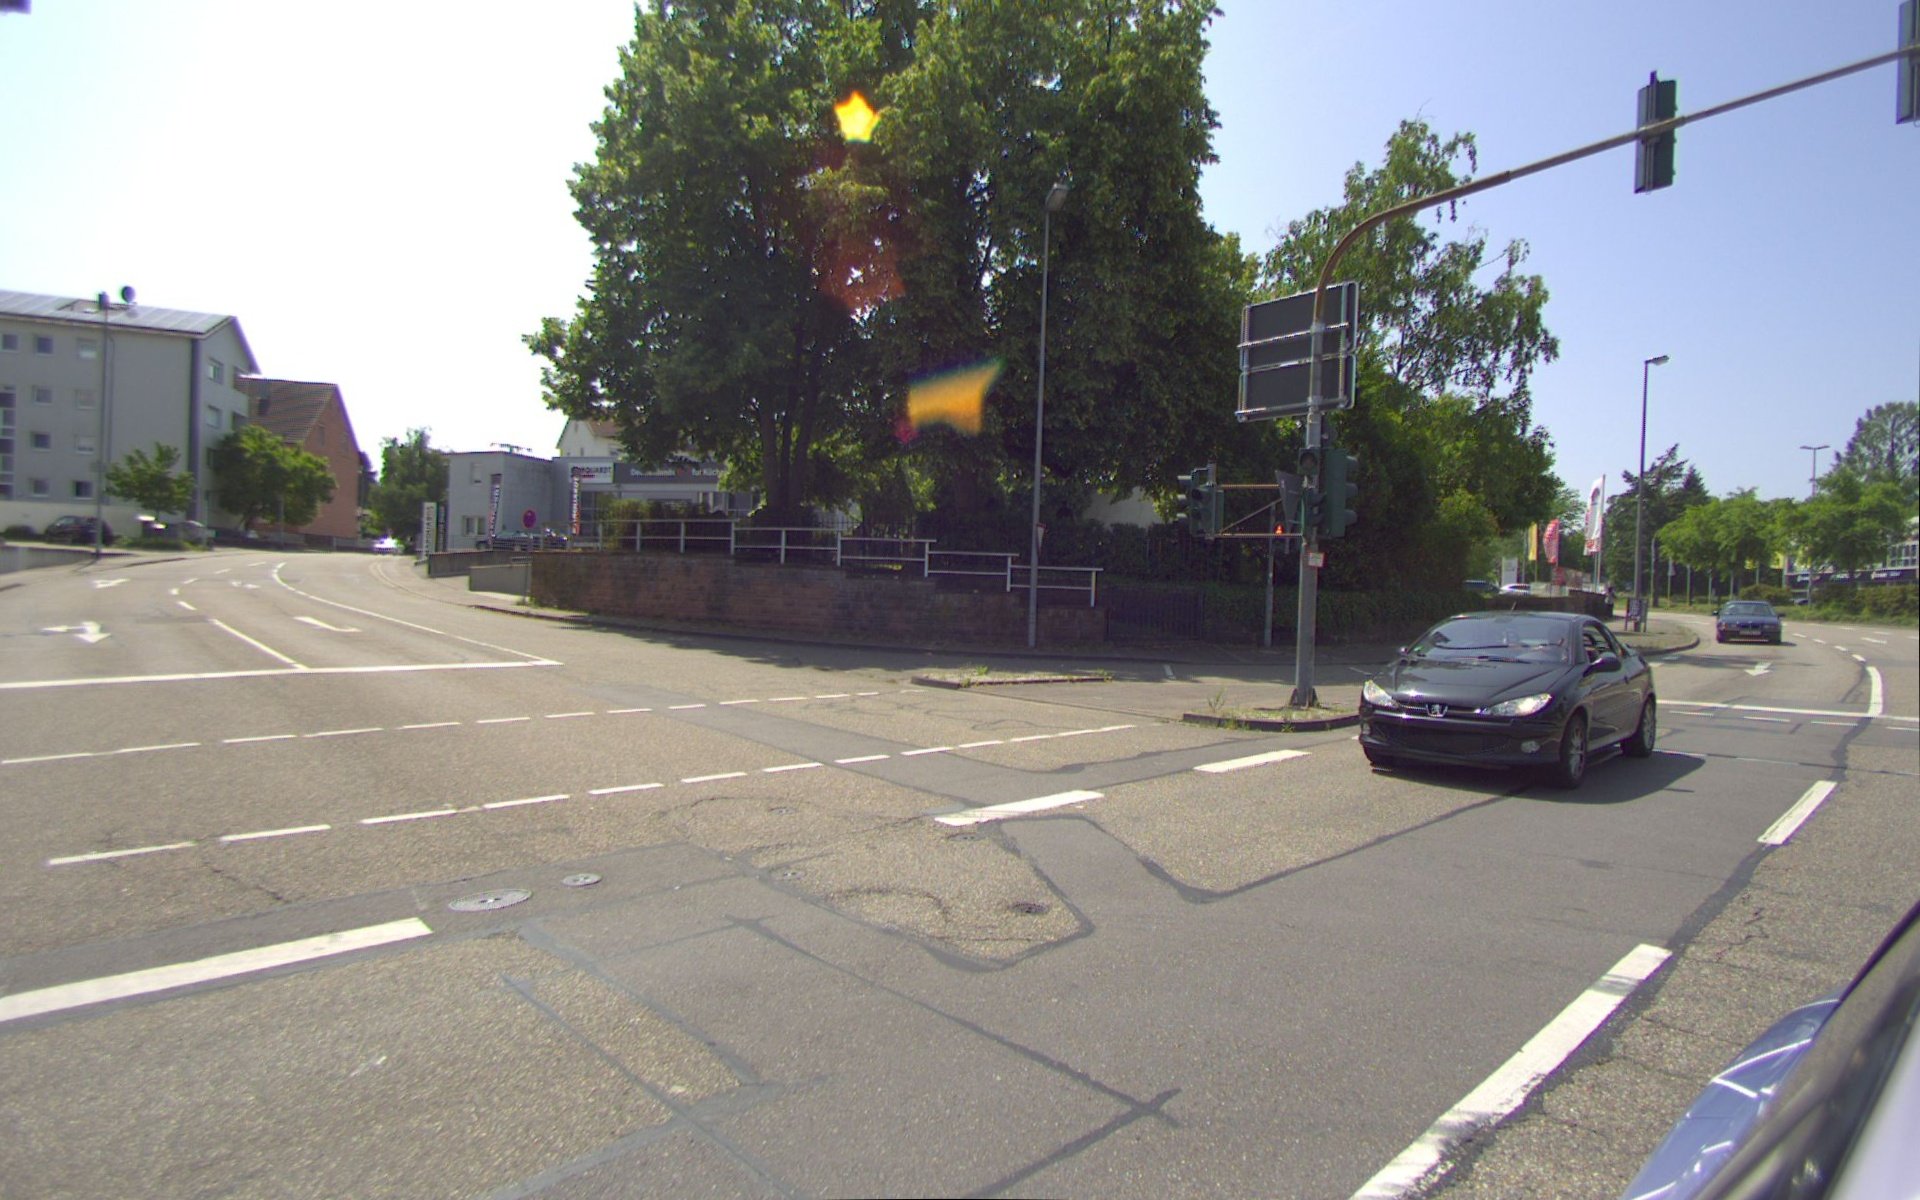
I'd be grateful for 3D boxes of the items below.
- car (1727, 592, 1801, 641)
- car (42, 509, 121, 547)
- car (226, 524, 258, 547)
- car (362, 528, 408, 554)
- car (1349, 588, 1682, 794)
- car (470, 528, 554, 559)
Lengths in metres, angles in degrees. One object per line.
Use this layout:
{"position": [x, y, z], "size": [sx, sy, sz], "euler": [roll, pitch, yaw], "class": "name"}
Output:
{"position": [26.178, 0.483, 32.903], "size": [1.692, 1.390, 3.941], "euler": [3, 3, 41], "class": "car"}
{"position": [-44.063, -3.587, 50.759], "size": [3.966, 1.683, 1.860], "euler": [0, 1, 30], "class": "car"}
{"position": [-55.074, -4.942, 77.712], "size": [1.689, 1.528, 3.955], "euler": [-1, 1, -31], "class": "car"}
{"position": [-49.050, -5.037, 86.421], "size": [1.960, 2.039, 4.004], "euler": [0, 1, -4], "class": "car"}
{"position": [5.131, 0.663, 9.154], "size": [3.600, 1.443, 1.602], "euler": [1, 1, -44], "class": "car"}
{"position": [-25.688, -3.224, 58.077], "size": [4.121, 1.474, 1.989], "euler": [4, 2, 17], "class": "car"}
